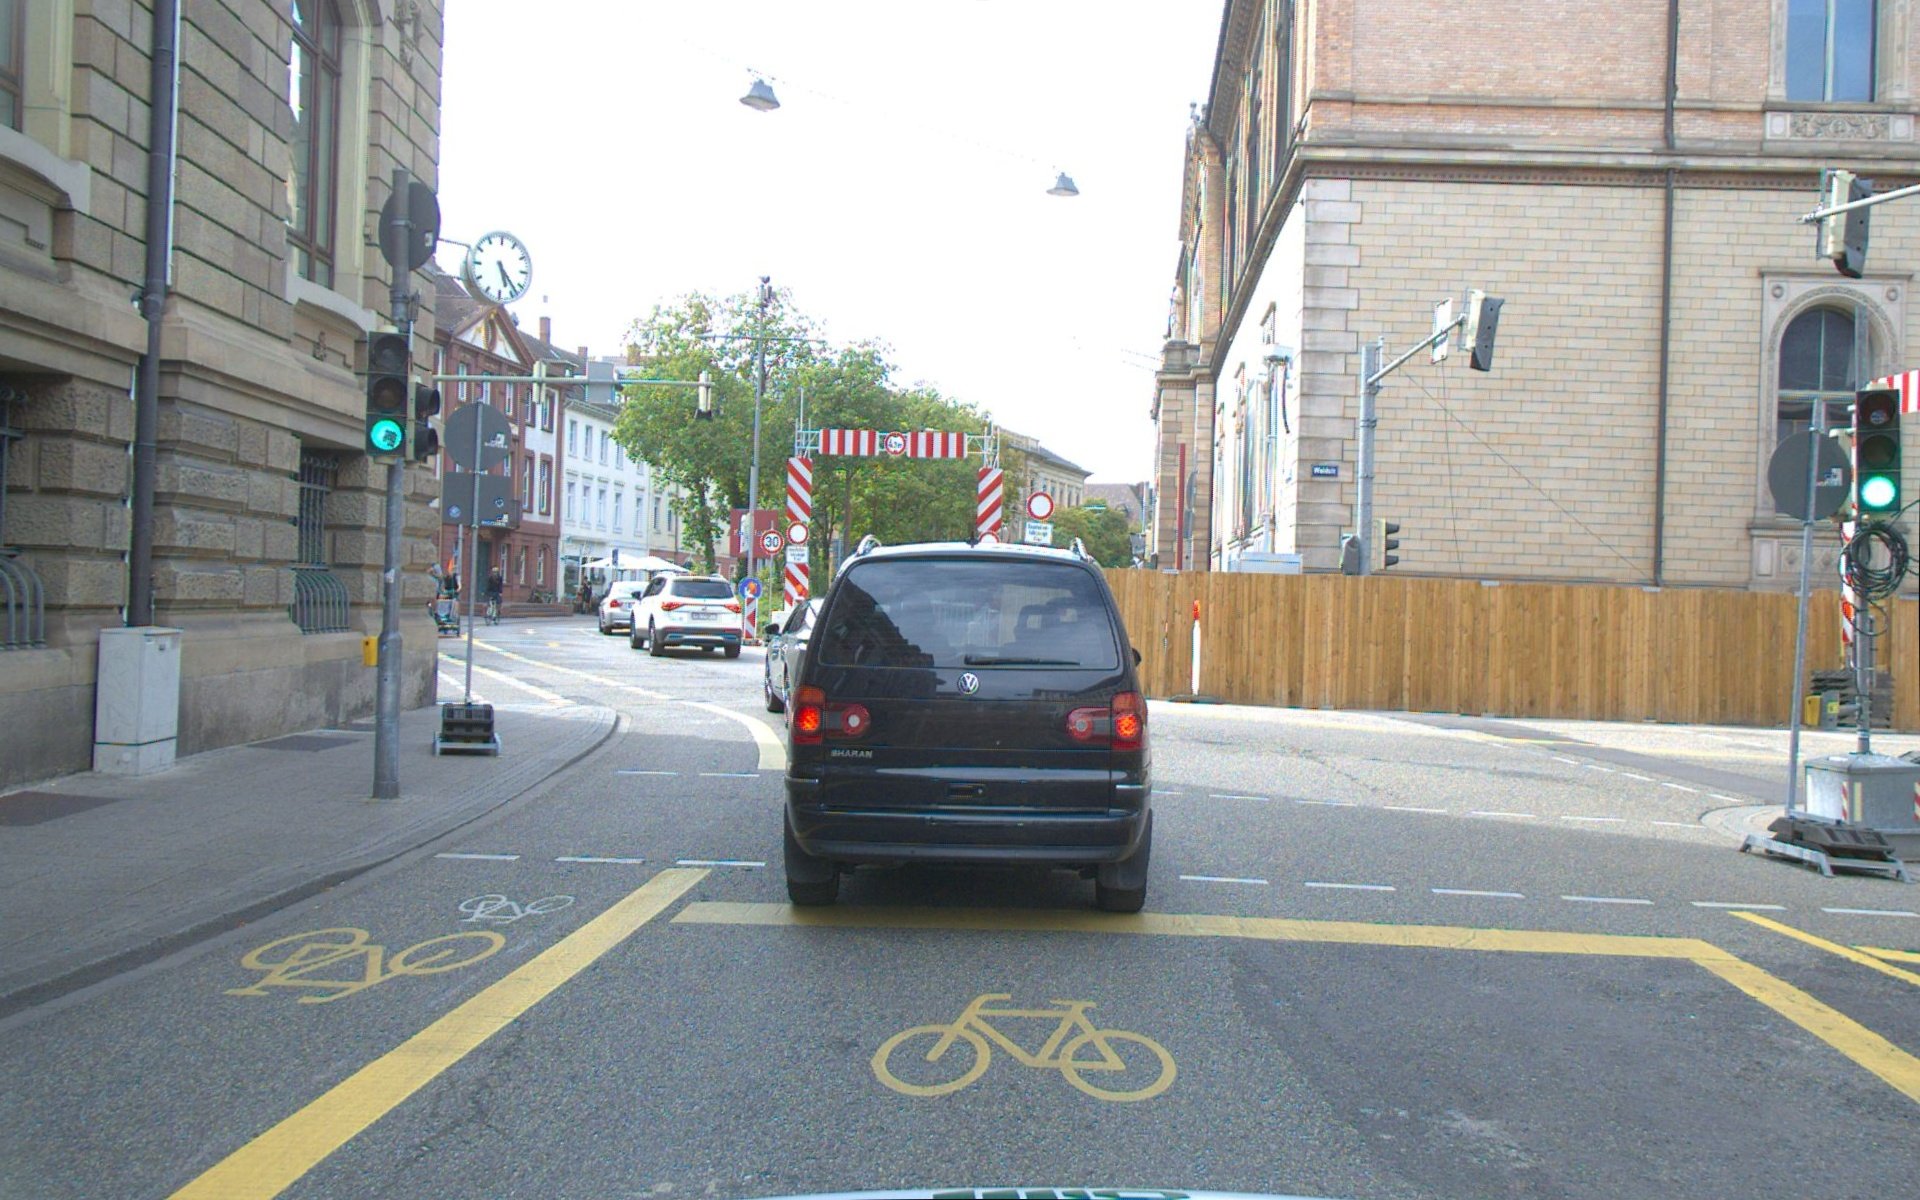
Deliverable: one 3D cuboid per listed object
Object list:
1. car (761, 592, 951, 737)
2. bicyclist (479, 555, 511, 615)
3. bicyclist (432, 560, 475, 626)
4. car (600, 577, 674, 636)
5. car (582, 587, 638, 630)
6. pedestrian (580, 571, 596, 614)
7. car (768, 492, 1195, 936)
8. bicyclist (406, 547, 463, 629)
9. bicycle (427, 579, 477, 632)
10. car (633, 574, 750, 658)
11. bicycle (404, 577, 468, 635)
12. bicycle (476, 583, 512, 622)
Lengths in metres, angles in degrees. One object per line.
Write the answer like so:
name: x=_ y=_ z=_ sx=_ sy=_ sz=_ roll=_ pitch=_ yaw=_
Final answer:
car: x=-1.333 y=0.688 z=19.543 sx=1.648 sy=1.494 sz=4.091 roll=2 pitch=0 yaw=-12
bicyclist: x=-15.698 y=-0.497 z=55.844 sx=0.909 sy=1.997 sz=1.102 roll=1 pitch=-1 yaw=-11
bicyclist: x=-12.974 y=-0.176 z=42.376 sx=0.909 sy=1.637 sz=1.061 roll=1 pitch=-1 yaw=-11
car: x=-8.905 y=0.176 z=45.427 sx=1.675 sy=1.527 sz=3.984 roll=1 pitch=0 yaw=-15
car: x=-11.603 y=0.266 z=54.707 sx=1.622 sy=1.344 sz=3.661 roll=1 pitch=0 yaw=-14
pedestrian: x=-18.155 y=-0.360 z=80.692 sx=0.573 sy=2.049 sz=0.686 roll=1 pitch=-1 yaw=2
car: x=0.083 y=0.493 z=9.056 sx=1.753 sy=1.821 sz=4.102 roll=2 pitch=0 yaw=0
bicyclist: x=-12.292 y=-0.266 z=38.713 sx=1.071 sy=1.856 sz=1.362 roll=1 pitch=-1 yaw=-11
bicycle: x=-12.955 y=0.136 z=42.274 sx=0.909 sy=1.277 sz=2.534 roll=1 pitch=0 yaw=-11
car: x=-5.613 y=0.314 z=34.198 sx=1.746 sy=1.613 sz=3.979 roll=1 pitch=0 yaw=-18
bicycle: x=-12.316 y=0.136 z=38.952 sx=1.037 sy=1.277 sz=3.033 roll=1 pitch=0 yaw=-11
bicycle: x=-15.726 y=0.087 z=55.915 sx=0.909 sy=1.277 sz=2.534 roll=1 pitch=0 yaw=-11
